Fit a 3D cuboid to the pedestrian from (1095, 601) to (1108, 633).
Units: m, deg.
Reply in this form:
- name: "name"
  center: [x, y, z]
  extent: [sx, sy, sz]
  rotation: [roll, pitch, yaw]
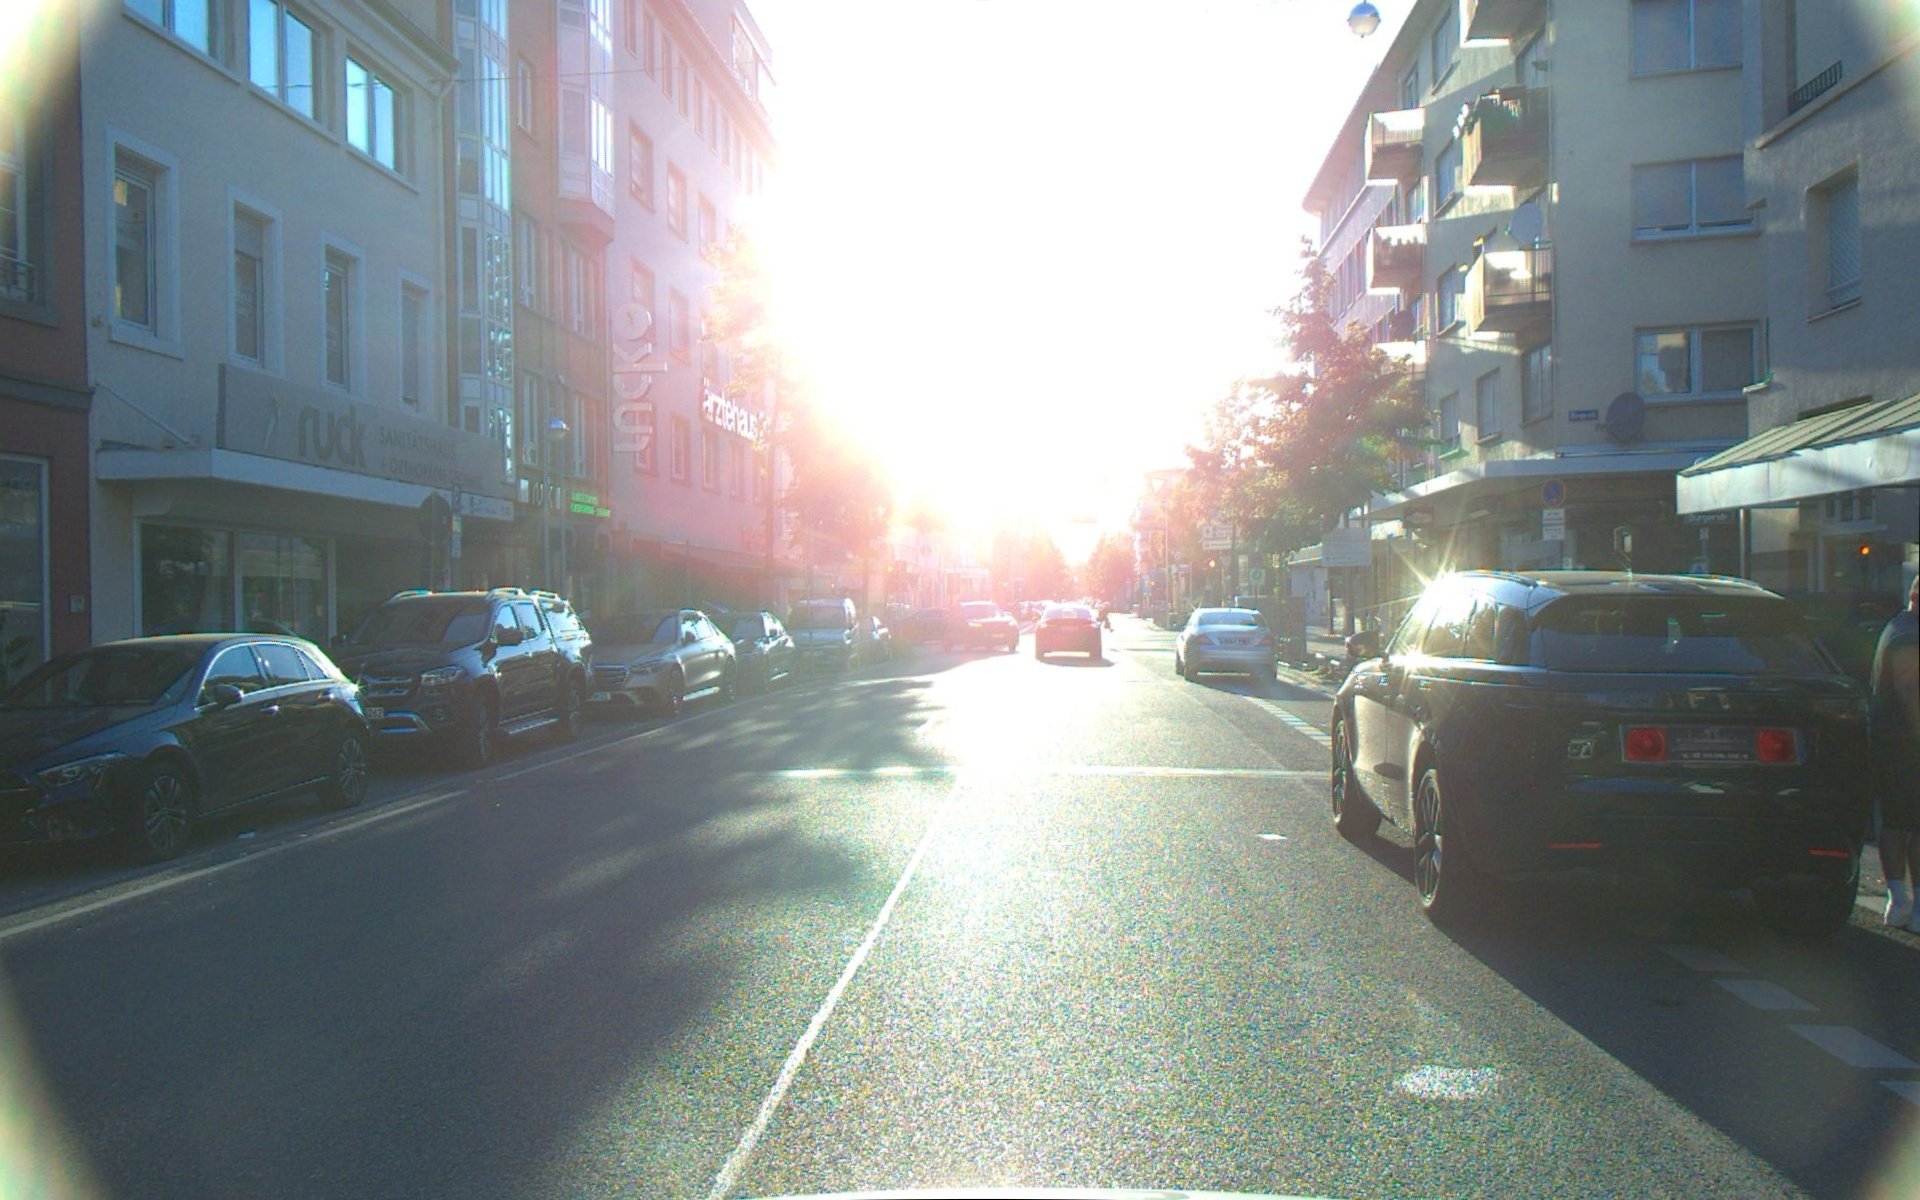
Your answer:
- name: "pedestrian"
  center: [7.631, 0.910, 89.192]
  extent: [0.564, 1.673, 0.525]
  rotation: [-1, 1, -17]

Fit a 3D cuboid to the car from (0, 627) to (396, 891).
- name: "car"
  center: [-5.845, 1.003, 12.003]
  extent: [1.677, 1.465, 4.312]
  rotation: [-2, 0, 5]

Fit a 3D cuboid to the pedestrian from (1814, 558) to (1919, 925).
- name: "pedestrian"
  center: [4.526, 0.651, 7.948]
  extent: [0.435, 1.694, 0.562]
  rotation: [-1, 0, -20]

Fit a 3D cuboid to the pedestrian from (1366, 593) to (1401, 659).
- name: "pedestrian"
  center: [10.339, 0.620, 40.410]
  extent: [0.673, 1.586, 0.863]
  rotation: [-1, 0, 4]

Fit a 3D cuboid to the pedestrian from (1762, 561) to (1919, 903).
- name: "pedestrian"
  center: [4.570, 0.656, 8.566]
  extent: [0.435, 1.694, 0.562]
  rotation: [-1, 0, -20]

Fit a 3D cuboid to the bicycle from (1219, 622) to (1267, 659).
- name: "bicycle"
  center: [9.164, 1.310, 53.602]
  extent: [1.506, 1.165, 0.382]
  rotation: [1, 1, 5]

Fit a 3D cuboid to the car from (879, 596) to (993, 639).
- name: "car"
  center: [-0.981, 0.678, 67.333]
  extent: [4.249, 1.630, 1.916]
  rotation: [-1, 1, -21]

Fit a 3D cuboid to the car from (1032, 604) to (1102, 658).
- name: "car"
  center: [3.038, 0.834, 46.320]
  extent: [1.844, 1.440, 4.327]
  rotation: [0, 0, 5]

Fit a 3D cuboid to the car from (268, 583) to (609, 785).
- name: "car"
  center: [-5.503, 0.793, 18.303]
  extent: [1.789, 1.842, 5.350]
  rotation: [-2, 0, 3]

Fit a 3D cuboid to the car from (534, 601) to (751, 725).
- name: "car"
  center: [-4.643, 0.863, 25.042]
  extent: [1.788, 1.583, 5.139]
  rotation: [-3, 0, 5]

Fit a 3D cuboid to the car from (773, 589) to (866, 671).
- name: "car"
  center: [-3.384, 0.719, 40.495]
  extent: [1.795, 1.887, 4.124]
  rotation: [-1, 0, 1]

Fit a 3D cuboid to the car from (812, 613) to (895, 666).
- name: "car"
  center: [-2.947, 1.069, 46.350]
  extent: [1.794, 1.351, 4.126]
  rotation: [-1, 0, 3]

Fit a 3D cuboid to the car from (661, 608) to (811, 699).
- name: "car"
  center: [-4.088, 0.940, 30.911]
  extent: [1.789, 1.464, 4.556]
  rotation: [-3, -1, 5]

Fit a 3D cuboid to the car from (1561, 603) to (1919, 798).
- name: "car"
  center: [6.669, 0.775, 14.527]
  extent: [1.599, 1.449, 3.759]
  rotation: [-2, 0, 4]

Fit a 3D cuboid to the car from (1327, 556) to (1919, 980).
- name: "car"
  center: [3.331, 0.676, 9.069]
  extent: [1.953, 1.684, 4.676]
  rotation: [1, 0, 5]

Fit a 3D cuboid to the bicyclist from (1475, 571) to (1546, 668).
- name: "bicyclist"
  center: [10.068, 0.357, 30.252]
  extent: [1.073, 1.732, 0.650]
  rotation: [-1, -1, 36]

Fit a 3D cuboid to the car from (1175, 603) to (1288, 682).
- name: "car"
  center: [5.439, 0.807, 33.592]
  extent: [1.881, 1.440, 4.550]
  rotation: [1, 0, 5]

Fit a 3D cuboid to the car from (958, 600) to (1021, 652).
- name: "car"
  center: [1.058, 0.860, 56.747]
  extent: [1.881, 1.630, 4.328]
  rotation: [-1, 1, 5]

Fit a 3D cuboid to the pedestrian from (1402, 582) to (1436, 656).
- name: "pedestrian"
  center: [11.129, 0.456, 40.094]
  extent: [0.673, 1.752, 0.717]
  rotation: [-2, -1, 10]
